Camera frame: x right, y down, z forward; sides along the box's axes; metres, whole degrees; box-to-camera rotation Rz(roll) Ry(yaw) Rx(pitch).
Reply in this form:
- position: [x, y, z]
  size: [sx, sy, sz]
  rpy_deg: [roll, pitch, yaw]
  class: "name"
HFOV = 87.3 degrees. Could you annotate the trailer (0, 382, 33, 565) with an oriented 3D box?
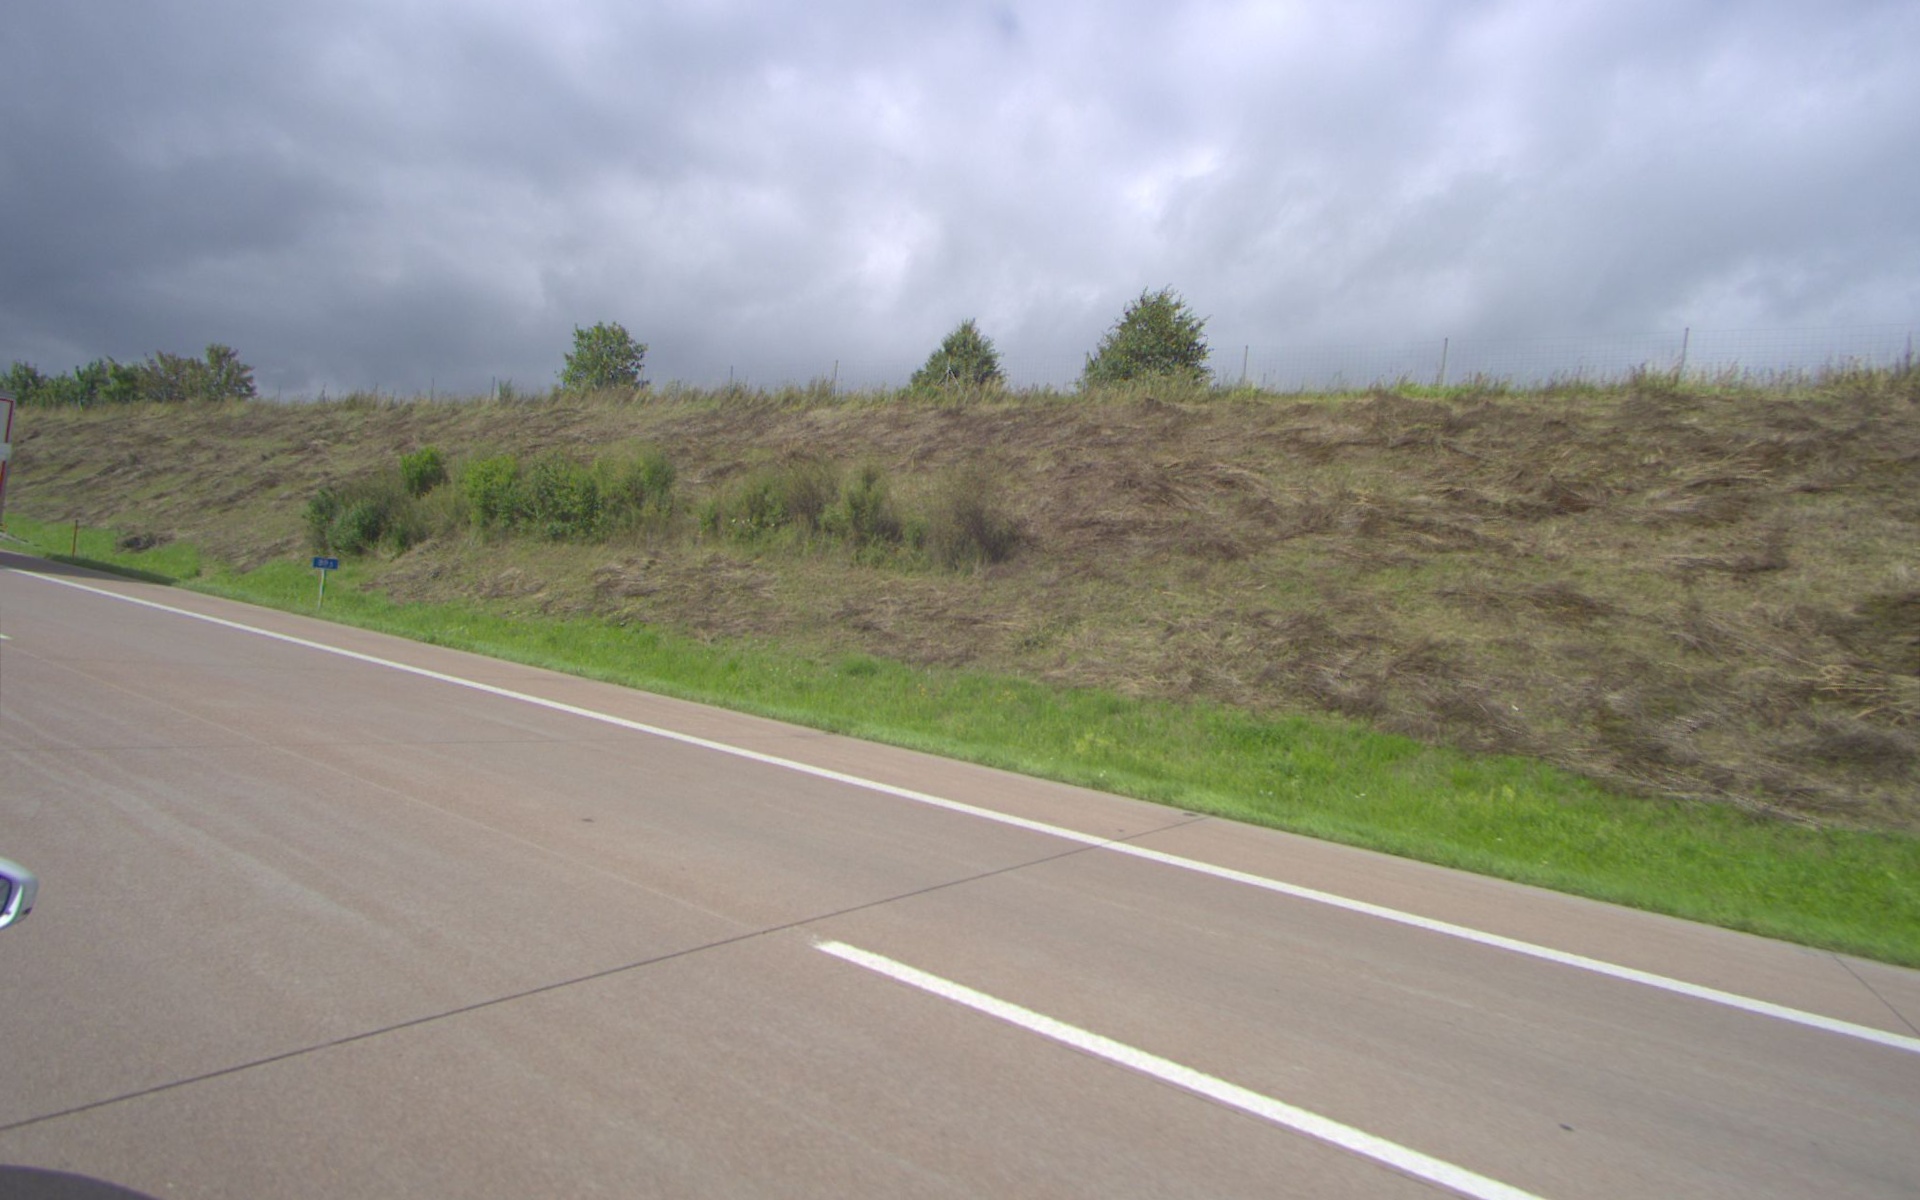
- position: [-25.794, -3.344, 24.004]
  size: [8.525, 4.058, 2.753]
  rpy_deg: [6, -2, 31]
  class: "trailer"
